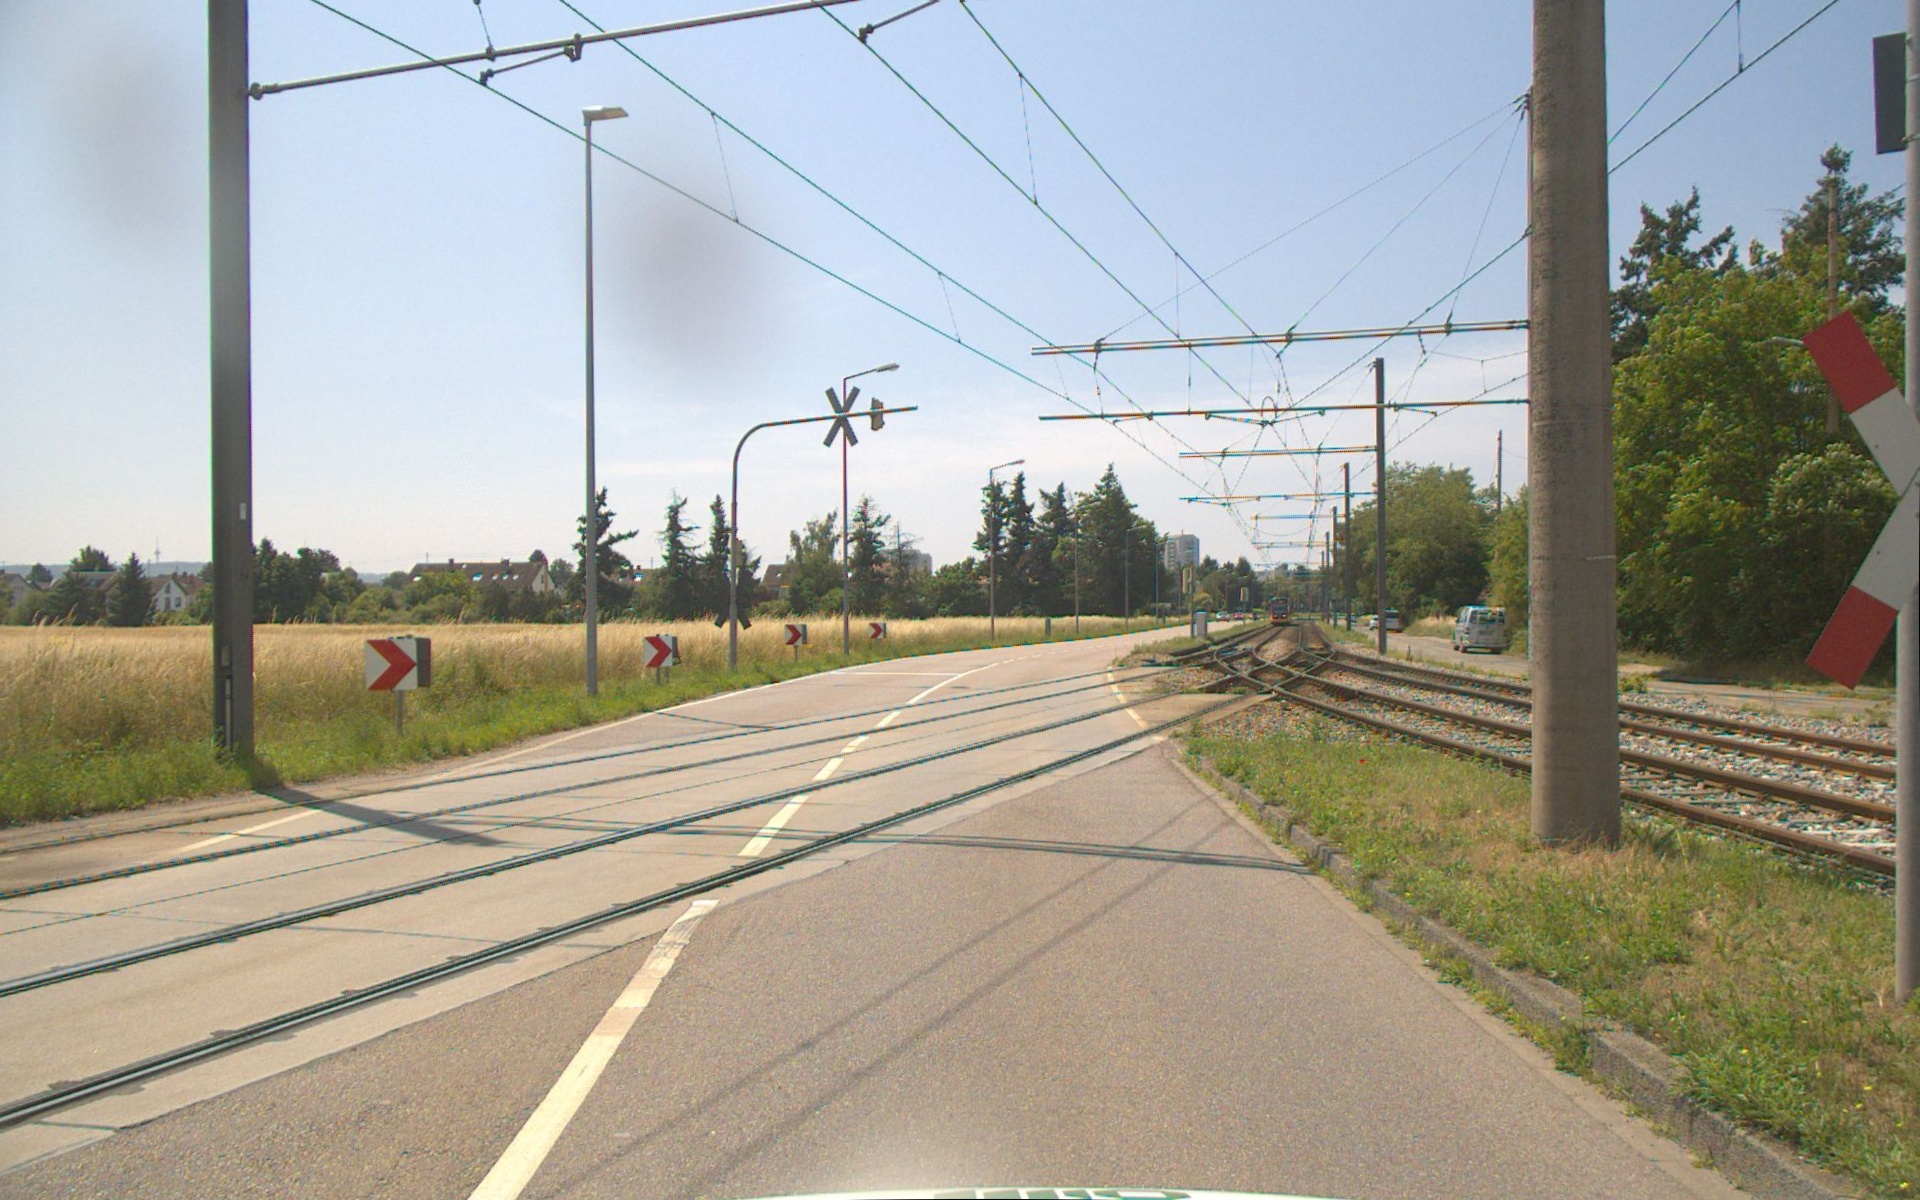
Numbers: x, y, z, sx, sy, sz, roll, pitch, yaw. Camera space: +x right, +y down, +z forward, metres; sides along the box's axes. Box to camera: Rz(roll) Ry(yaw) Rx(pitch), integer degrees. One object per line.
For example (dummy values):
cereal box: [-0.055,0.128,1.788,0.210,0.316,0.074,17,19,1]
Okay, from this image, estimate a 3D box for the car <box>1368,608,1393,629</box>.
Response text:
car: [37.769,1.664,148.534,1.951,1.834,4.798,-1,-2,12]

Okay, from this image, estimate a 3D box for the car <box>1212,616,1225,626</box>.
car: [38.835,3.133,248.247,1.795,1.493,4.681,-1,-2,11]

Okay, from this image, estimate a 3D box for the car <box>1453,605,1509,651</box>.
car: [22.682,1.238,72.144,1.993,1.915,5.072,-1,-2,14]

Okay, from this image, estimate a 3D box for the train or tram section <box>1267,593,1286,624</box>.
train or tram section: [41.278,1.142,215.503,2.377,3.832,11.568,-1,-2,11]
